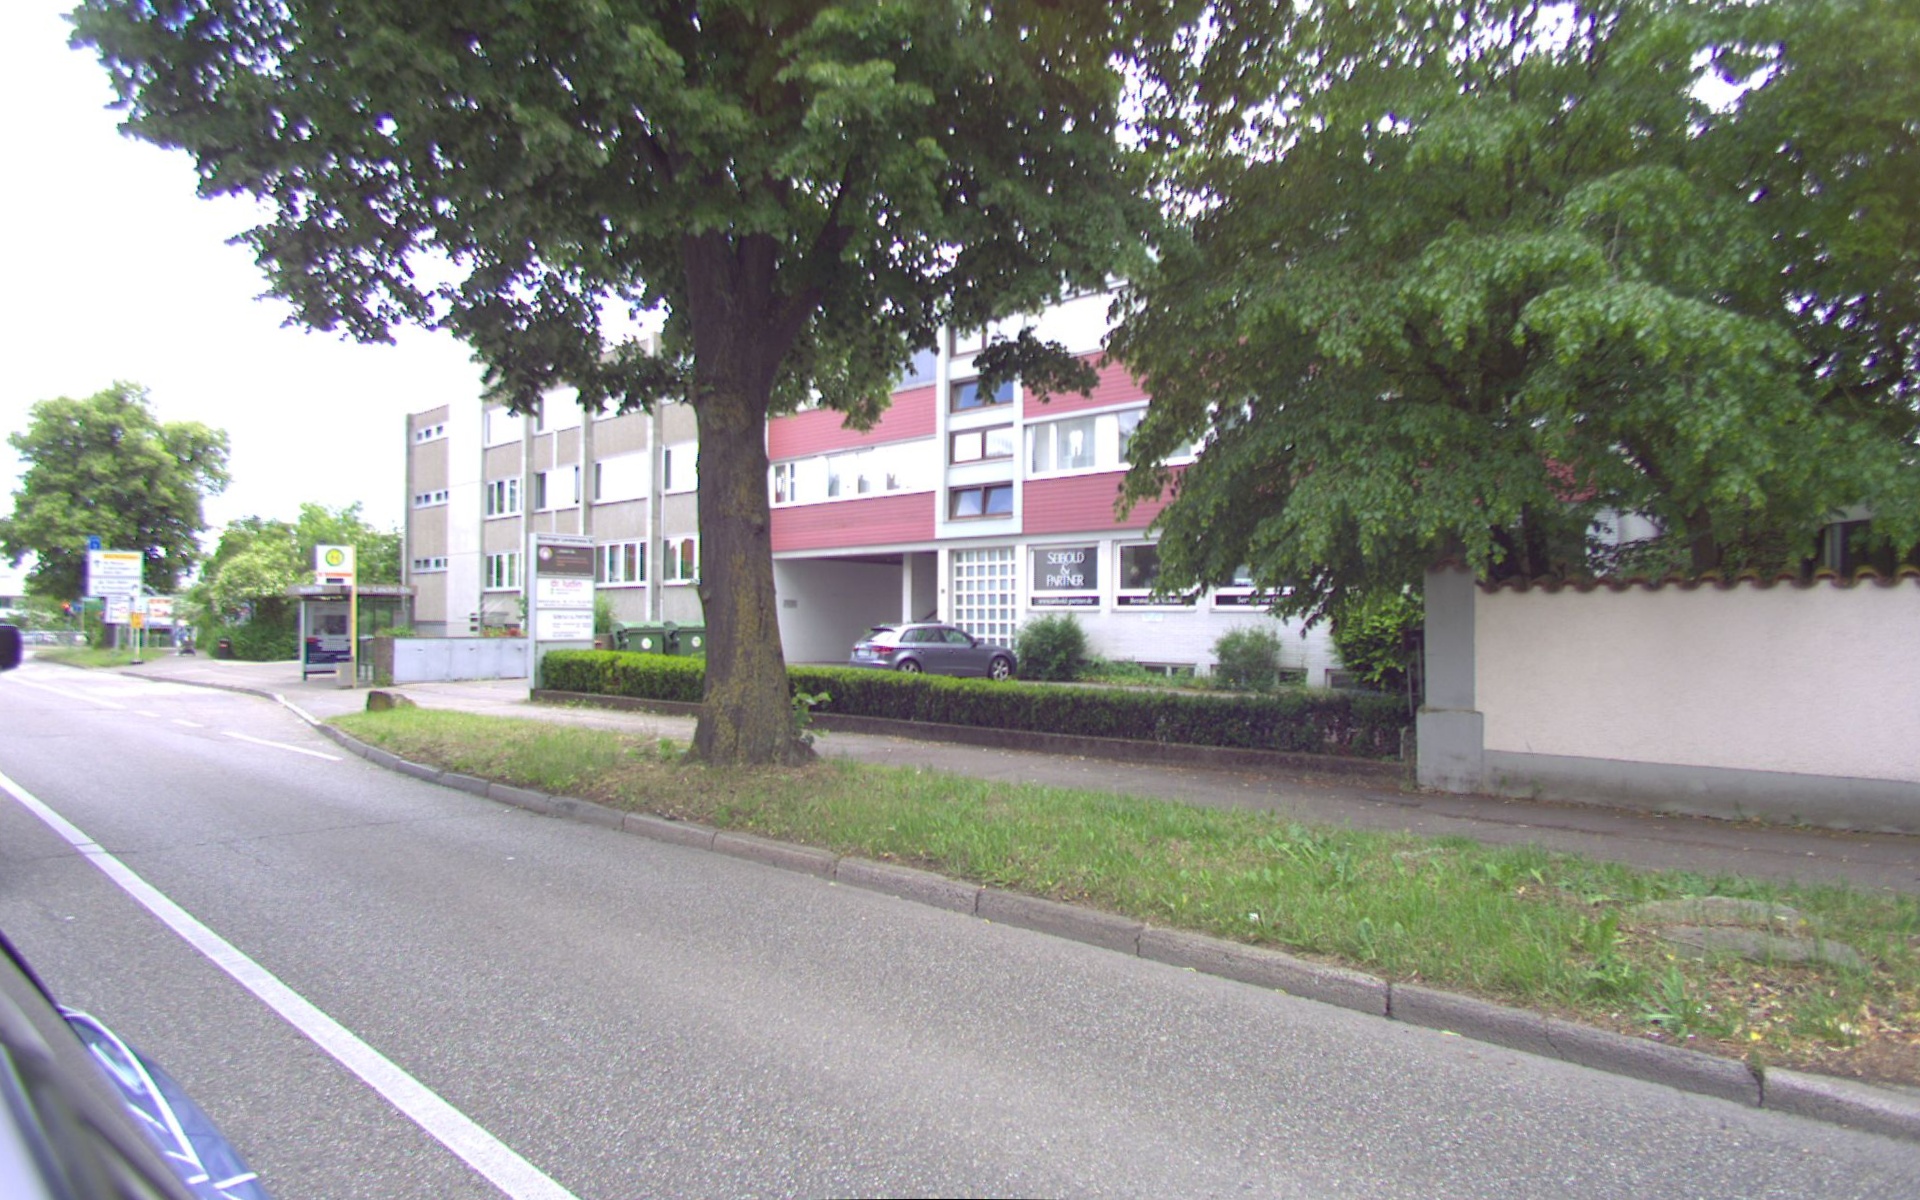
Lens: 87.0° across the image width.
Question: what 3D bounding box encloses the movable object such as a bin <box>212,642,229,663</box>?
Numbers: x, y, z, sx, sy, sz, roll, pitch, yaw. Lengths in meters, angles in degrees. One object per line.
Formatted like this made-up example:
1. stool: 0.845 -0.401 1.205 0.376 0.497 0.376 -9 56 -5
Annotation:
1. movable object such as a bin: -32.970 2.342 45.129 0.558 0.934 0.609 0 -1 -33

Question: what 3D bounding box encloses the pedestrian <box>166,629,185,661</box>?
1. pedestrian: -38.749 2.211 49.980 0.662 1.570 0.521 0 -1 -32

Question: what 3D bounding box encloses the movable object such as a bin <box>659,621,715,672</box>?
1. movable object such as a bin: -8.238 1.389 30.569 0.884 1.476 1.347 -1 -1 41

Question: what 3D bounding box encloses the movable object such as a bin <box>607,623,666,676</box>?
1. movable object such as a bin: -9.377 1.406 29.329 0.992 1.476 1.285 -1 -1 41

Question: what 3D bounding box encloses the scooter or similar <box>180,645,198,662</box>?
1. scooter or similar: -37.576 2.600 49.338 0.598 0.792 0.861 0 0 -32

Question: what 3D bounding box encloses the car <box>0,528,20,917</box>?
1. car: -7.669 0.661 6.288 5.710 1.987 1.974 -1 0 40

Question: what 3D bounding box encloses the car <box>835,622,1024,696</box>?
1. car: -0.683 1.313 23.685 4.082 1.490 1.817 0 0 -35

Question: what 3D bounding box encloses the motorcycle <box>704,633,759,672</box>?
1. motorcycle: -7.185 1.641 31.900 0.639 1.148 1.624 -1 -1 41
